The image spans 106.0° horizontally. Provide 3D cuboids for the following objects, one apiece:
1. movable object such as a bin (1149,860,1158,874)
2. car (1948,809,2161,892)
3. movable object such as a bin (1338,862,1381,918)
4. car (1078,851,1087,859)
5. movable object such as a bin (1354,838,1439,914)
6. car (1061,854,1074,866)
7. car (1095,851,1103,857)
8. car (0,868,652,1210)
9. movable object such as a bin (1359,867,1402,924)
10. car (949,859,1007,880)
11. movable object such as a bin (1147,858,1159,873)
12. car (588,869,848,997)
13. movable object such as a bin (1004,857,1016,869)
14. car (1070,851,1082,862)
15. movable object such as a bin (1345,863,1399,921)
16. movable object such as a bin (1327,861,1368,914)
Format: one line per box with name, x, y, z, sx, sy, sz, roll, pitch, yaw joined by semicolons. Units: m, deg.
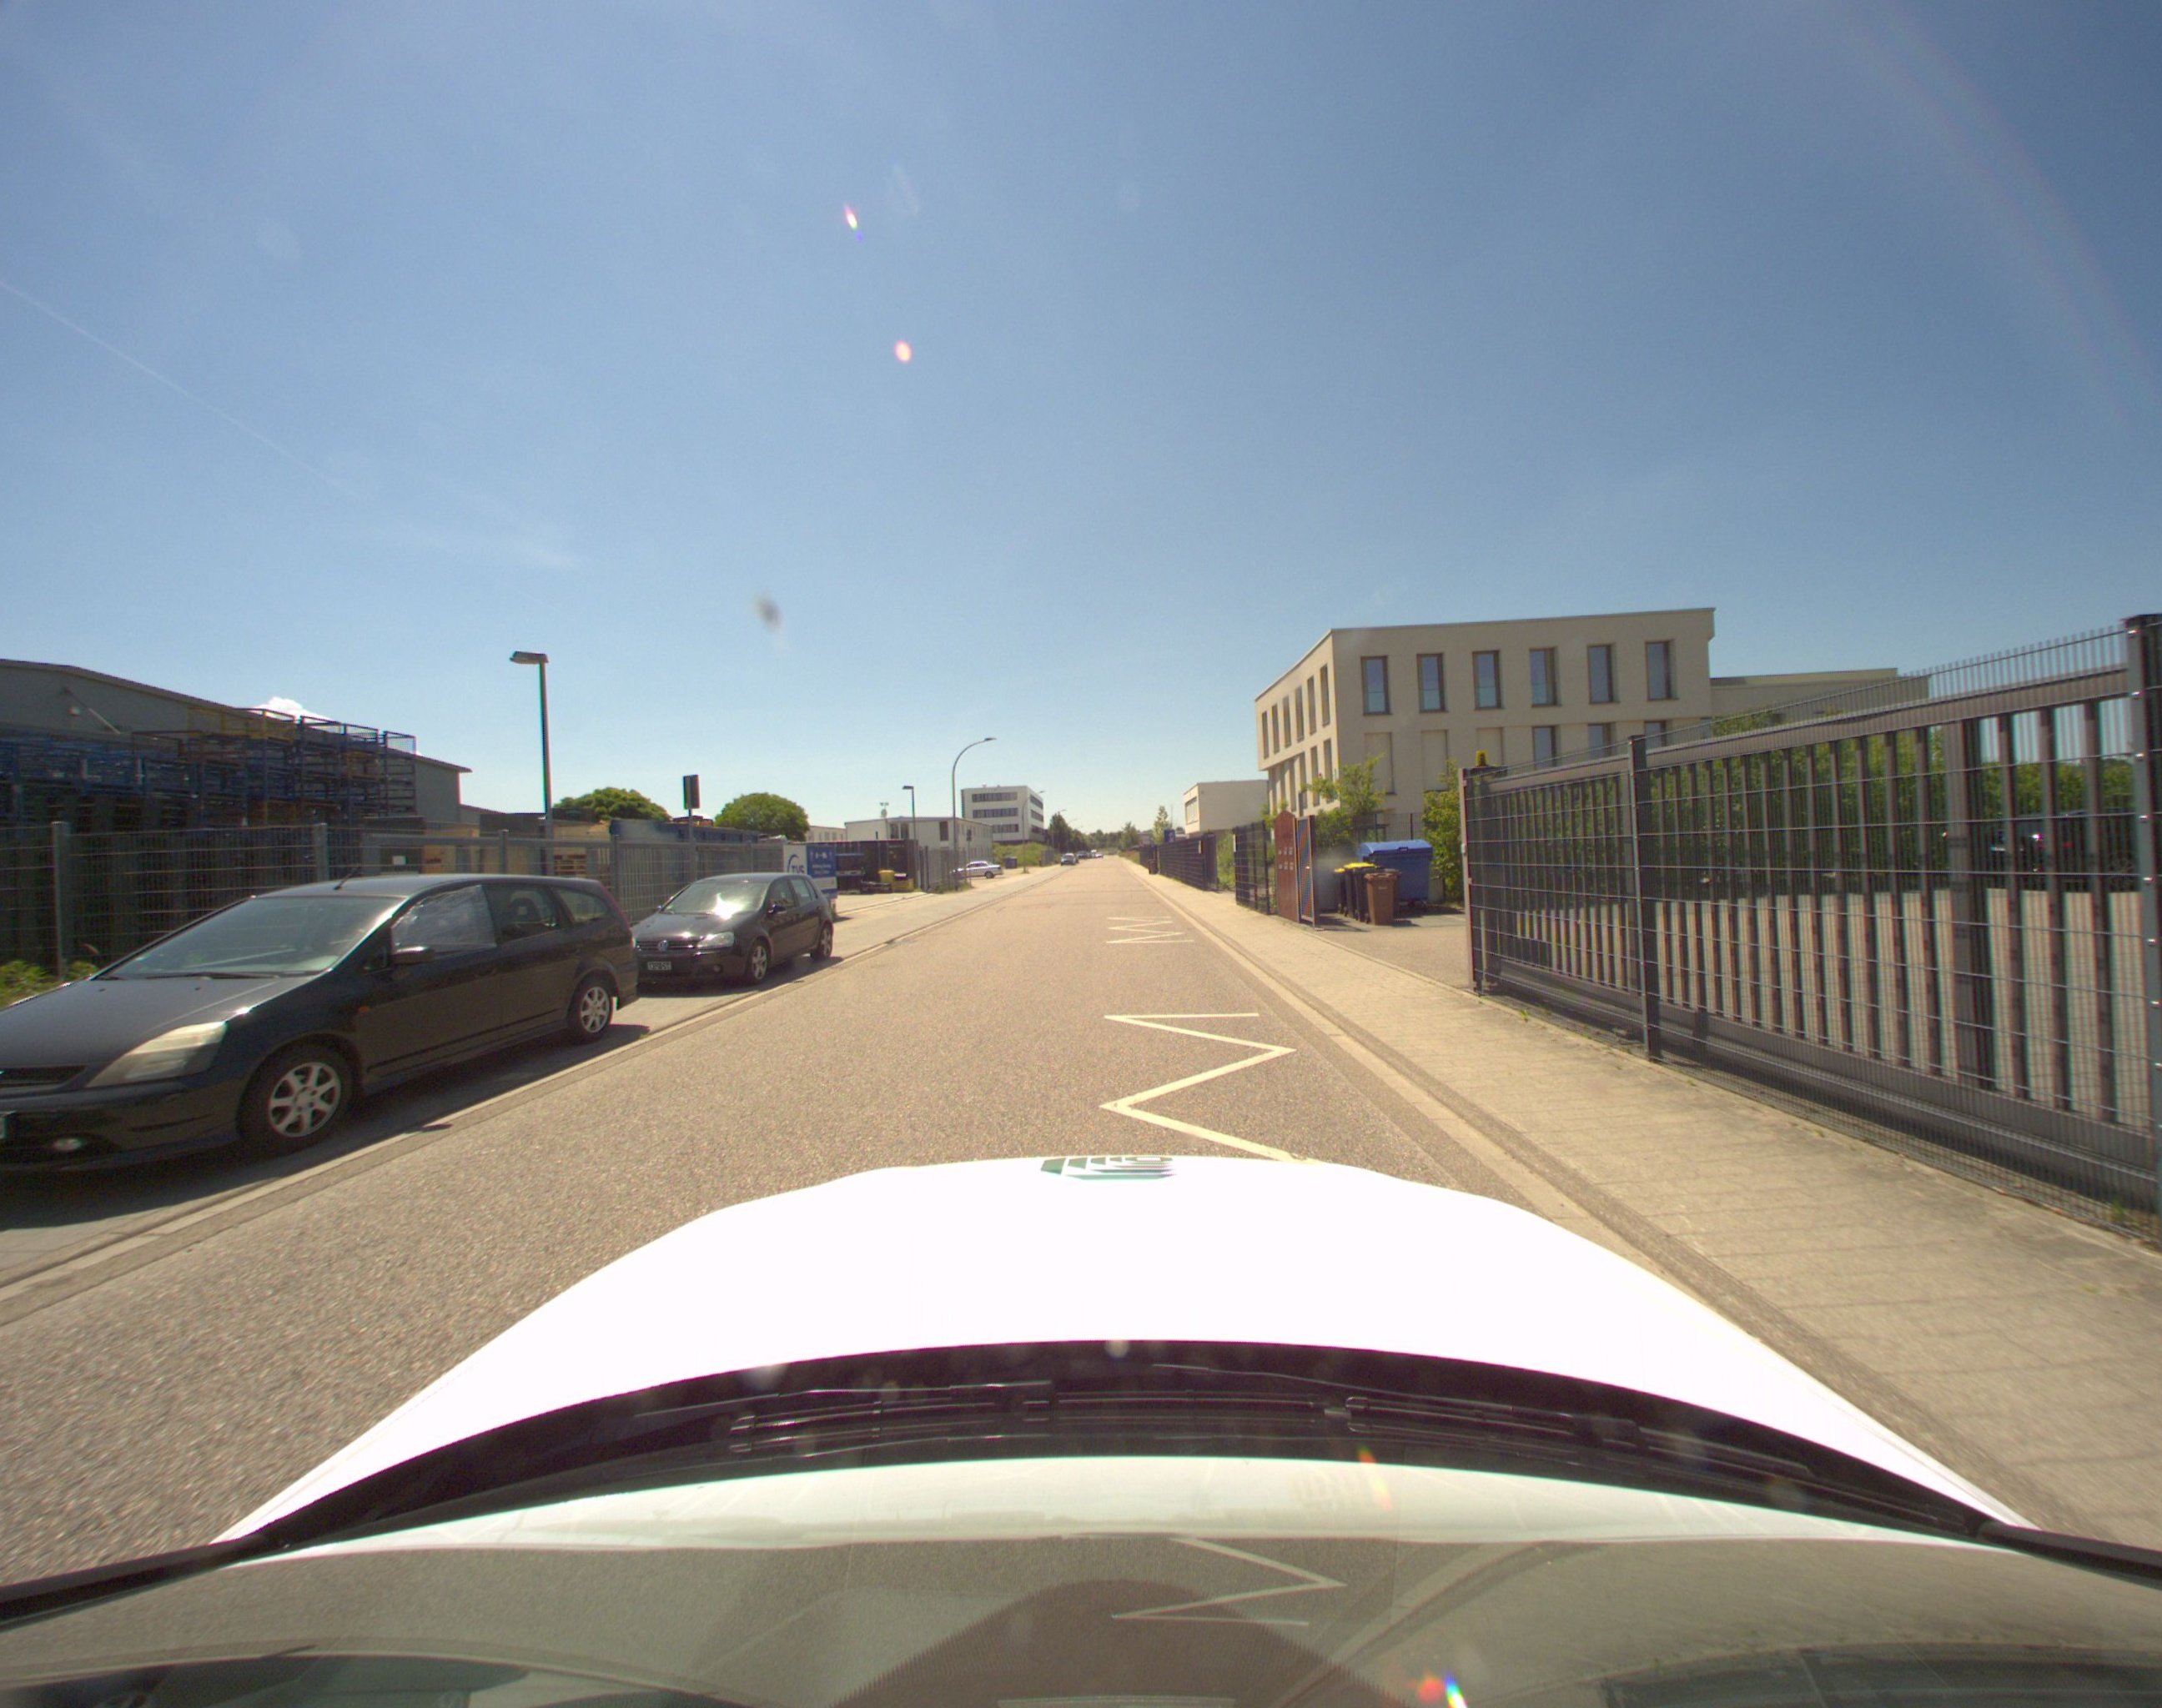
movable object such as a bin;5.257;0.917;58.743;0.549;0.928;0.523;-7;1;6
car;18.899;-0.110;14.934;3.970;1.355;1.794;-2;1;3
movable object such as a bin;5.517;0.704;16.155;0.602;1.036;0.651;-3;0;2
car;0.277;0.166;161.703;1.638;1.489;3.209;-2;0;2
movable object such as a bin;6.500;0.441;16.851;1.329;1.459;0.949;-3;0;1
car;-1.796;0.739;106.784;1.461;1.489;3.209;-2;0;2
car;4.584;-0.049;206.364;1.797;1.557;4.002;-3;0;2
car;-5.362;0.940;6.155;1.763;1.556;4.502;-1;0;1
movable object such as a bin;5.483;0.751;14.930;0.541;0.994;0.581;-3;0;1
car;-8.281;1.229;65.678;4.261;1.364;1.899;-3;0;2
movable object such as a bin;5.266;0.839;59.727;0.775;1.019;0.666;-7;1;6
car;-5.067;1.008;12.124;1.762;1.461;4.335;-1;0;2
movable object such as a bin;-8.795;1.056;100.690;1.282;1.412;1.805;-2;0;-2
car;-0.743;0.344;122.888;1.461;1.489;3.209;-2;0;2
movable object such as a bin;5.537;0.717;15.518;0.790;1.036;0.581;-3;0;1
movable object such as a bin;5.541;0.689;16.963;0.541;1.036;0.914;-3;0;2
